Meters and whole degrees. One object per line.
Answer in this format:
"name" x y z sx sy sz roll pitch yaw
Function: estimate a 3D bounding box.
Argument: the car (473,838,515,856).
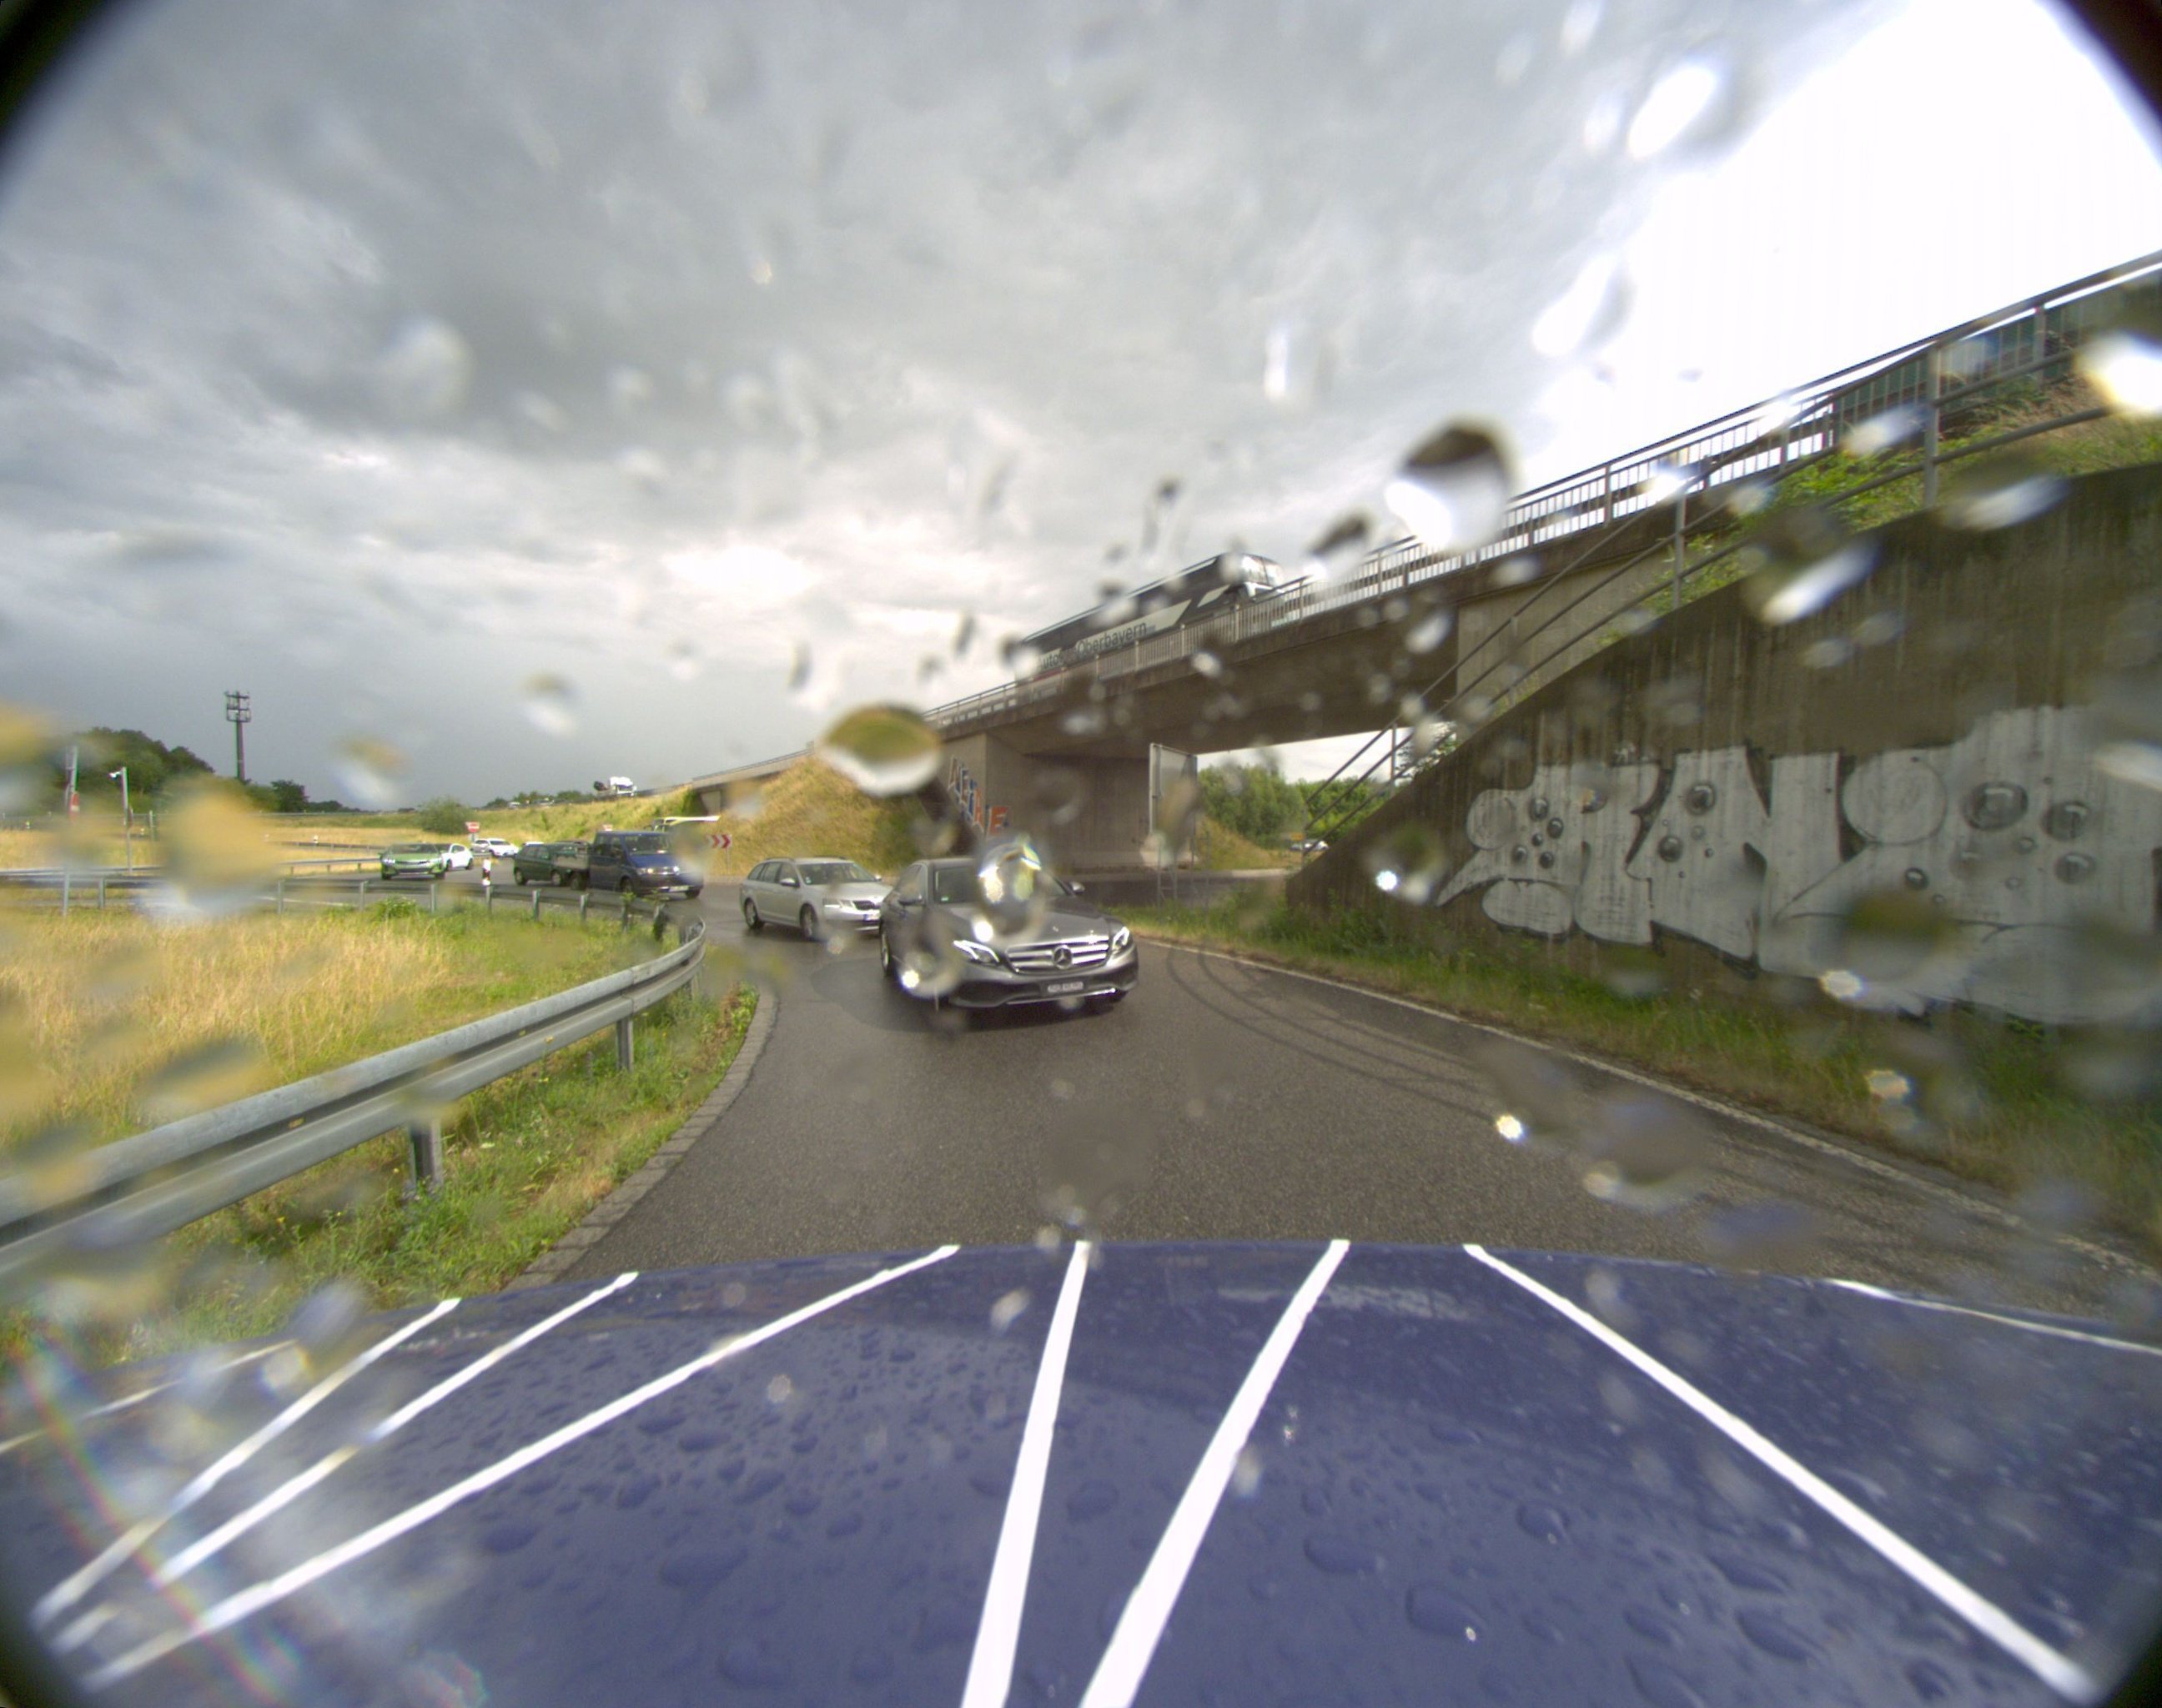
"car" -46.506 -0.587 60.197 3.762 1.283 1.715 2 3 38

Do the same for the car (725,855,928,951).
"car" -4.972 0.805 14.526 4.336 1.391 1.801 1 4 44

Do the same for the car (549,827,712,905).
"car" -13.091 0.229 21.920 5.664 1.904 1.897 3 3 35

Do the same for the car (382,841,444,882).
"car" -26.581 0.245 30.192 1.622 1.466 3.834 -2 3 -44

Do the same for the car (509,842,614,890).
"car" -17.823 0.361 26.033 3.834 1.466 1.660 2 2 35

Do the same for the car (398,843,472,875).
"car" -32.152 0.188 37.953 1.620 1.466 3.922 0 2 -22

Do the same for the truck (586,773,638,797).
"truck" -70.038 -10.230 113.456 9.251 3.177 3.166 2 4 35

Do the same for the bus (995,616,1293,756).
"bus" 1.431 -5.848 29.216 2.617 3.063 14.420 -3 4 -36

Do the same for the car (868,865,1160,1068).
"car" -1.055 0.882 8.186 1.774 1.383 4.581 -1 1 -23
